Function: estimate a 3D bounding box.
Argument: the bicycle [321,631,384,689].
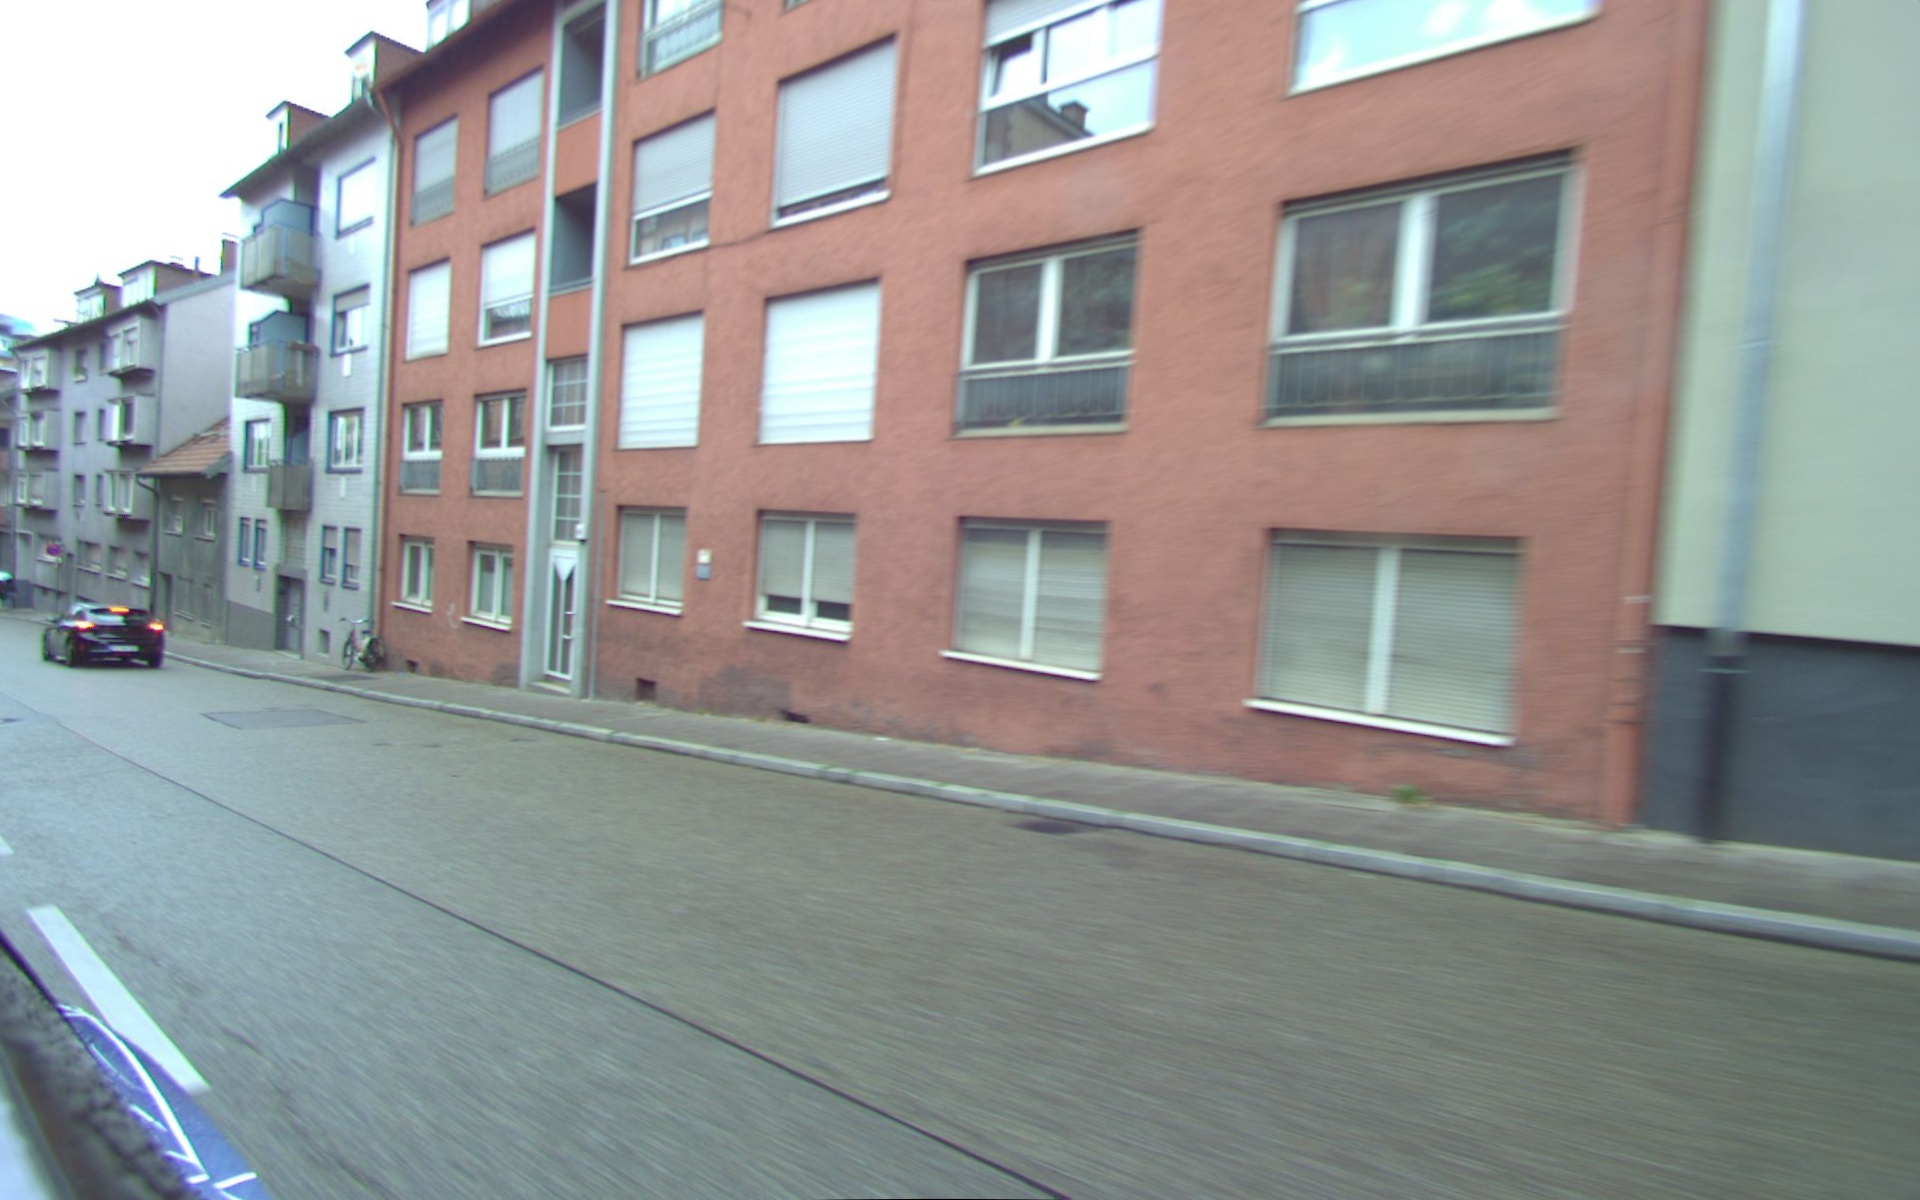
[{"bbox_3d":[-13.092,1.262,21.771,2.039,1.125,0.565,0,1,42],"label":"bicycle"}]

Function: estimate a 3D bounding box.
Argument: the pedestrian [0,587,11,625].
[{"bbox_3d":[-46.267,0.290,48.970,0.498,1.793,0.352,0,0,31],"label":"pedestrian"}]

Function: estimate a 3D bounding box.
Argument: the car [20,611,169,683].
[{"bbox_3d":[-20.186,1.082,23.557,3.998,1.490,1.973,0,-4,41],"label":"car"}]
